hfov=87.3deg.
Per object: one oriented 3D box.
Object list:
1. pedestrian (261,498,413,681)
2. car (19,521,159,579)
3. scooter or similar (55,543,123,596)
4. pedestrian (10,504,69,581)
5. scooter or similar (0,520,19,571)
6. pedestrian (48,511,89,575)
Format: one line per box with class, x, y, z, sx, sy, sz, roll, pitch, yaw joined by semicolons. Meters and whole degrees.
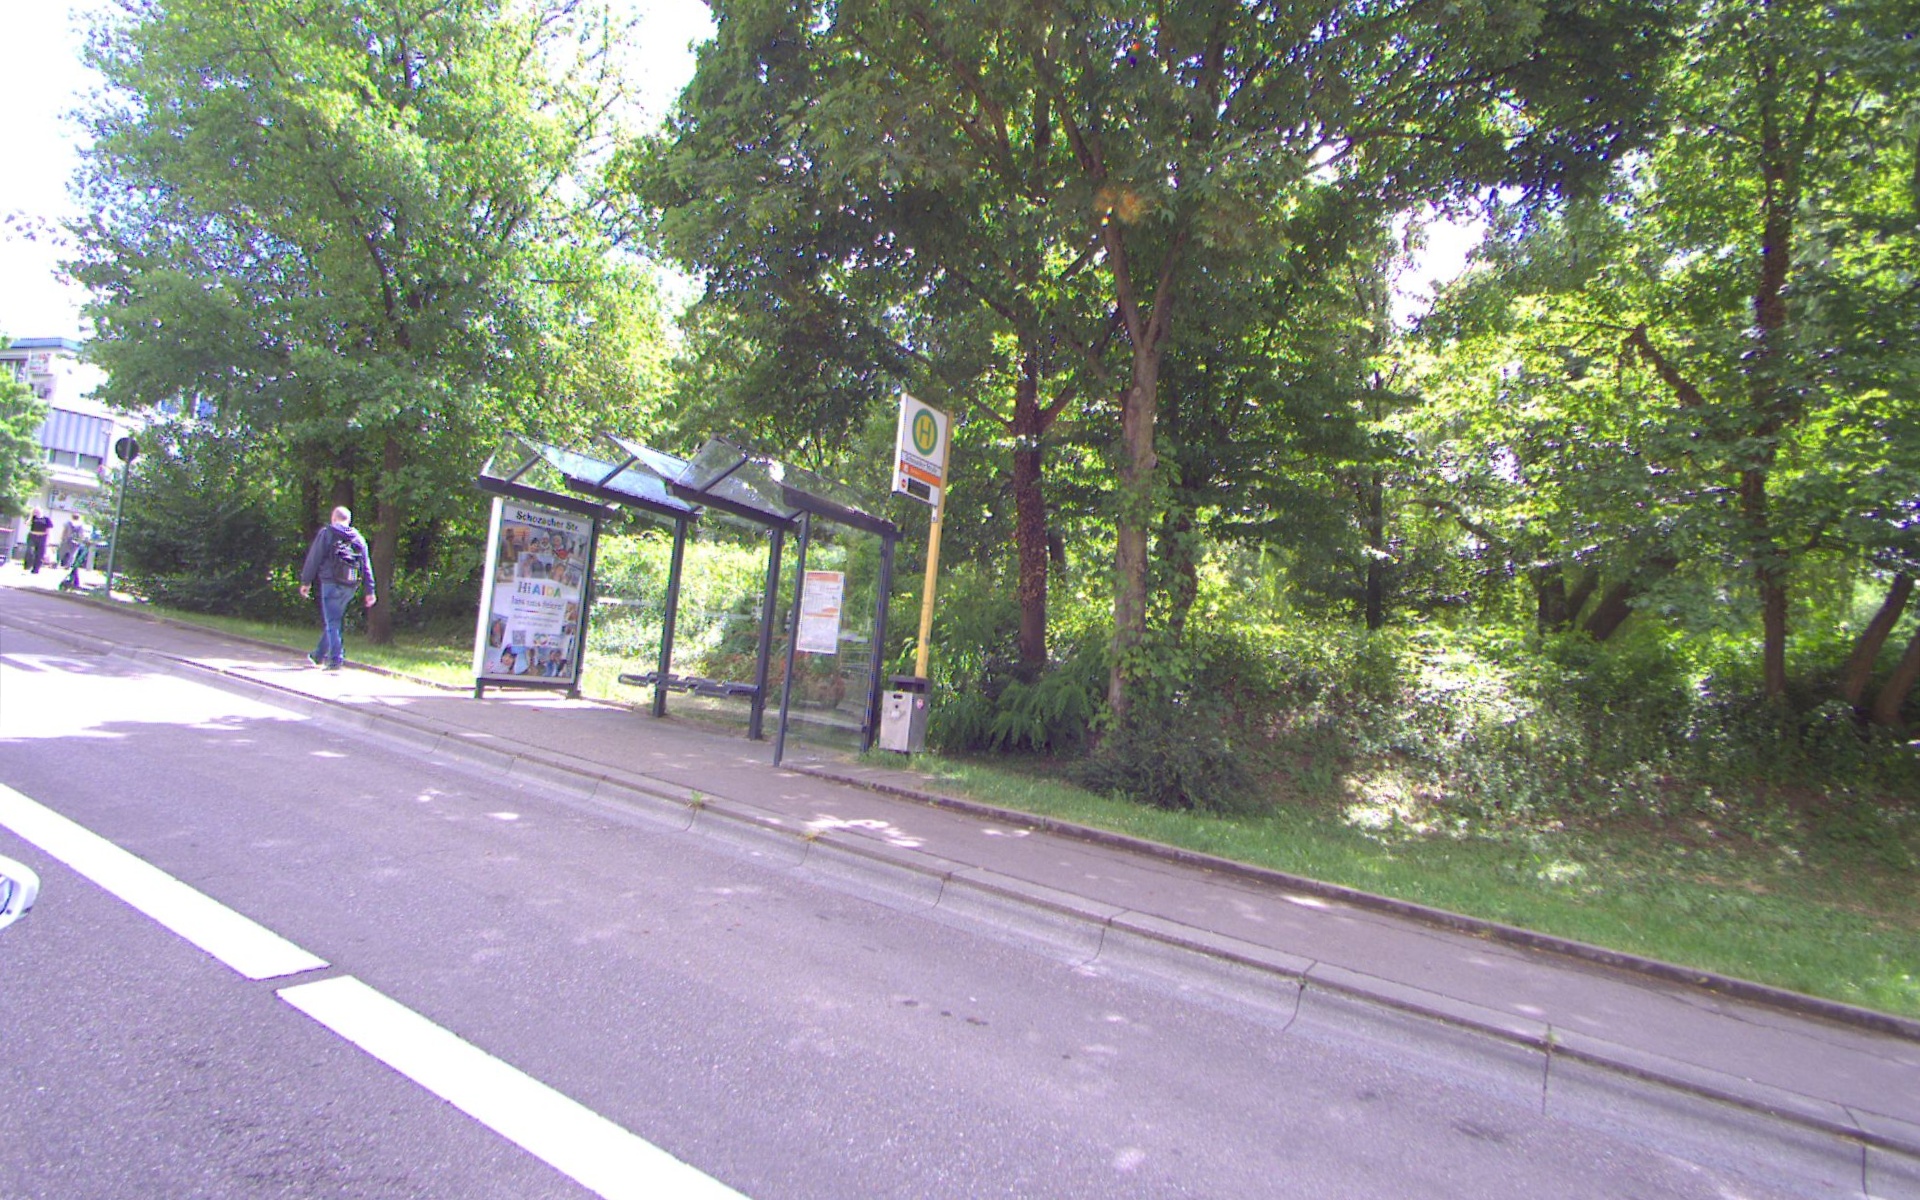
pedestrian;-7.163;-0.119;11.574;1.250;1.916;0.803;6;-2;33
car;-33.525;-1.891;38.829;1.679;1.619;3.592;6;-2;20
scooter or similar;-20.309;-0.703;23.468;0.325;1.112;1.154;7;-2;9
pedestrian;-23.549;-1.464;25.762;0.755;1.808;0.564;11;-5;-33
scooter or similar;-24.961;-1.460;25.766;0.326;1.273;1.111;7;-1;20
pedestrian;-26.722;-1.690;30.155;0.611;1.808;0.562;12;-5;-40
